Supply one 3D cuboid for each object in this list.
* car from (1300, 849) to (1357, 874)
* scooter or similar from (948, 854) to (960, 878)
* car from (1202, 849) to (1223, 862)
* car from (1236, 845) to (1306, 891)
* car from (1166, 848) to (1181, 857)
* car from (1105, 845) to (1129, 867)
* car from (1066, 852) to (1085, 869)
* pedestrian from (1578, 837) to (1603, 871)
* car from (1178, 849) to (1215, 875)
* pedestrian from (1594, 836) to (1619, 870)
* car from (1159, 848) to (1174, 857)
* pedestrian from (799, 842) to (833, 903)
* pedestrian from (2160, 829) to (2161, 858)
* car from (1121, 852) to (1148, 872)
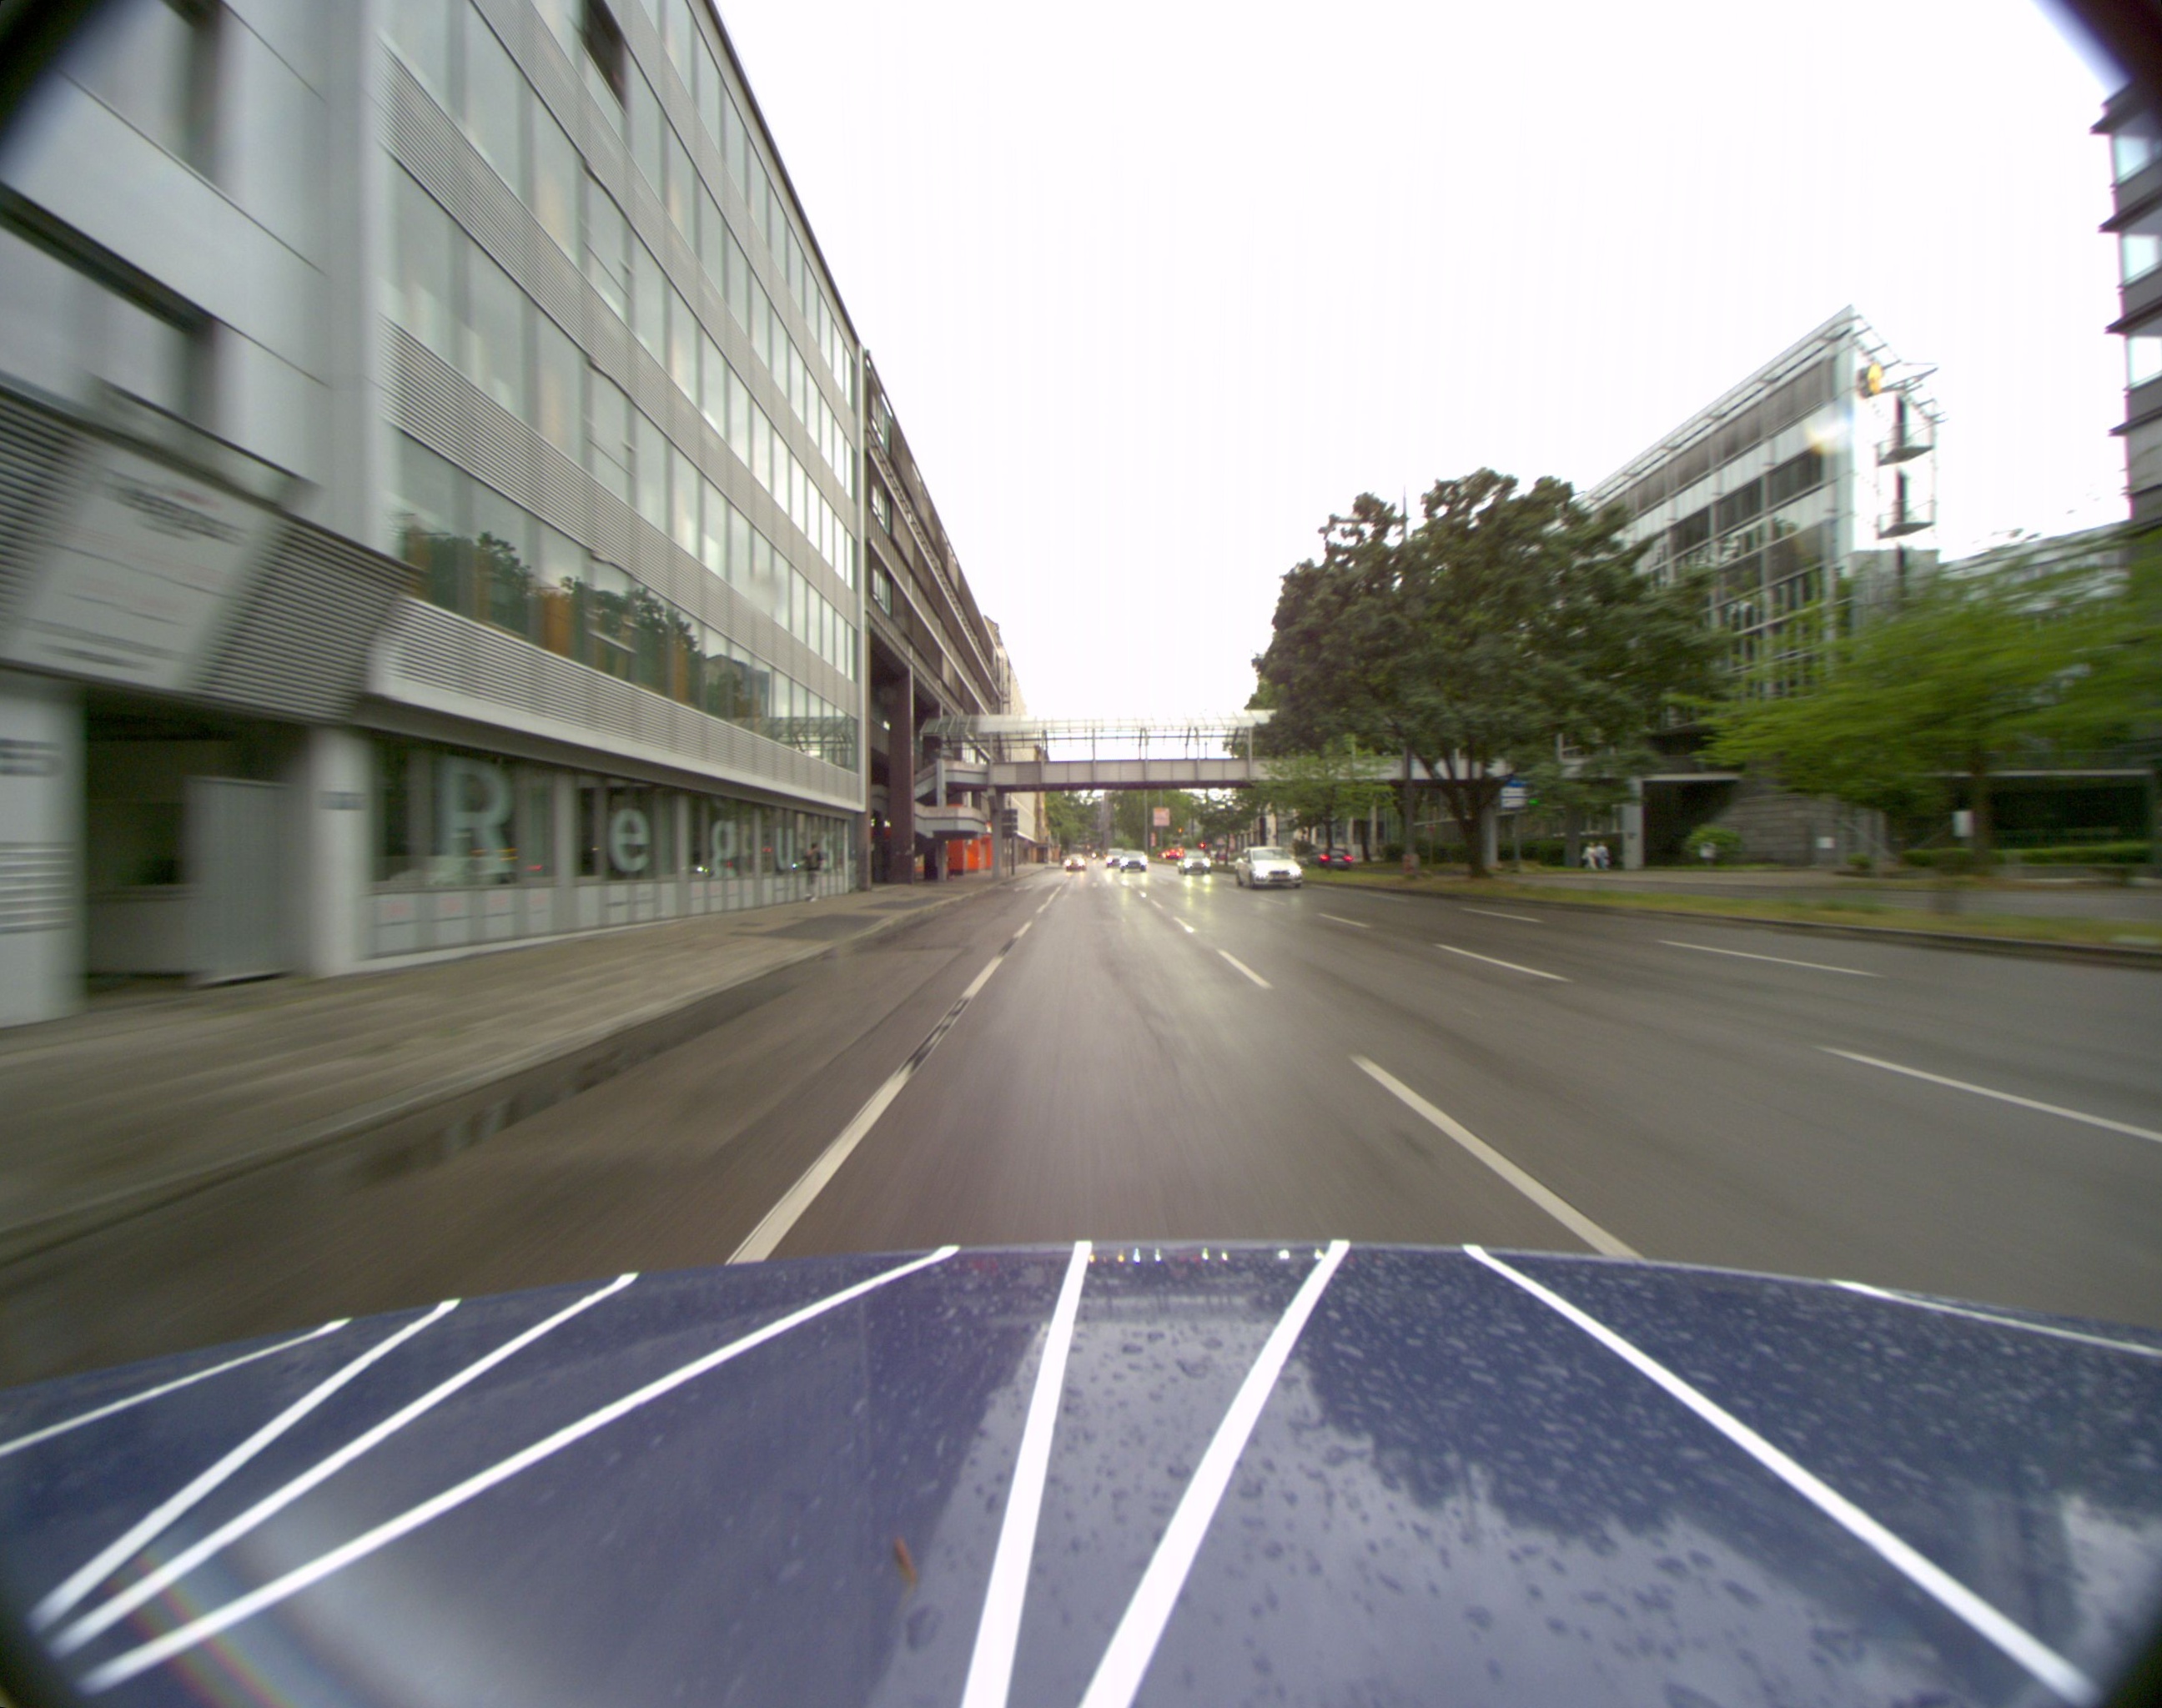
[{"bbox_3d":[13.966,0.397,43.164,1.732,1.303,4.076,-1,0,-3],"label":"car"},{"bbox_3d":[-6.911,0.657,41.270,0.472,1.266,1.306,-2,1,-16],"label":"scooter or similar"},{"bbox_3d":[16.431,0.163,94.775,1.672,1.589,3.998,-2,1,-3],"label":"car"},{"bbox_3d":[7.188,0.491,29.112,1.787,1.564,4.288,-1,0,3],"label":"car"},{"bbox_3d":[14.230,-0.286,117.195,1.732,1.303,4.076,-1,0,-3],"label":"car"},{"bbox_3d":[3.573,0.203,76.507,2.162,2.014,5.041,-2,0,1],"label":"car"},{"bbox_3d":[-0.456,0.558,68.425,1.666,1.464,3.483,-2,0,0],"label":"car"},{"bbox_3d":[27.880,-0.008,41.604,0.729,1.788,0.925,-2,1,1],"label":"pedestrian"},{"bbox_3d":[7.367,0.494,48.729,1.788,1.564,3.691,-1,0,1],"label":"car"},{"bbox_3d":[28.772,-0.059,41.600,0.729,1.822,0.925,-2,1,1],"label":"pedestrian"},{"bbox_3d":[13.970,-0.232,123.904,1.732,1.303,4.076,-1,0,-3],"label":"car"},{"bbox_3d":[-8.079,0.561,23.179,0.729,1.822,0.764,-1,1,1],"label":"pedestrian"},{"bbox_3d":[30.375,0.184,20.708,0.729,1.805,0.765,-2,-2,-1],"label":"pedestrian"},{"bbox_3d":[4.101,0.577,58.824,1.941,1.426,4.288,-1,0,2],"label":"car"}]
